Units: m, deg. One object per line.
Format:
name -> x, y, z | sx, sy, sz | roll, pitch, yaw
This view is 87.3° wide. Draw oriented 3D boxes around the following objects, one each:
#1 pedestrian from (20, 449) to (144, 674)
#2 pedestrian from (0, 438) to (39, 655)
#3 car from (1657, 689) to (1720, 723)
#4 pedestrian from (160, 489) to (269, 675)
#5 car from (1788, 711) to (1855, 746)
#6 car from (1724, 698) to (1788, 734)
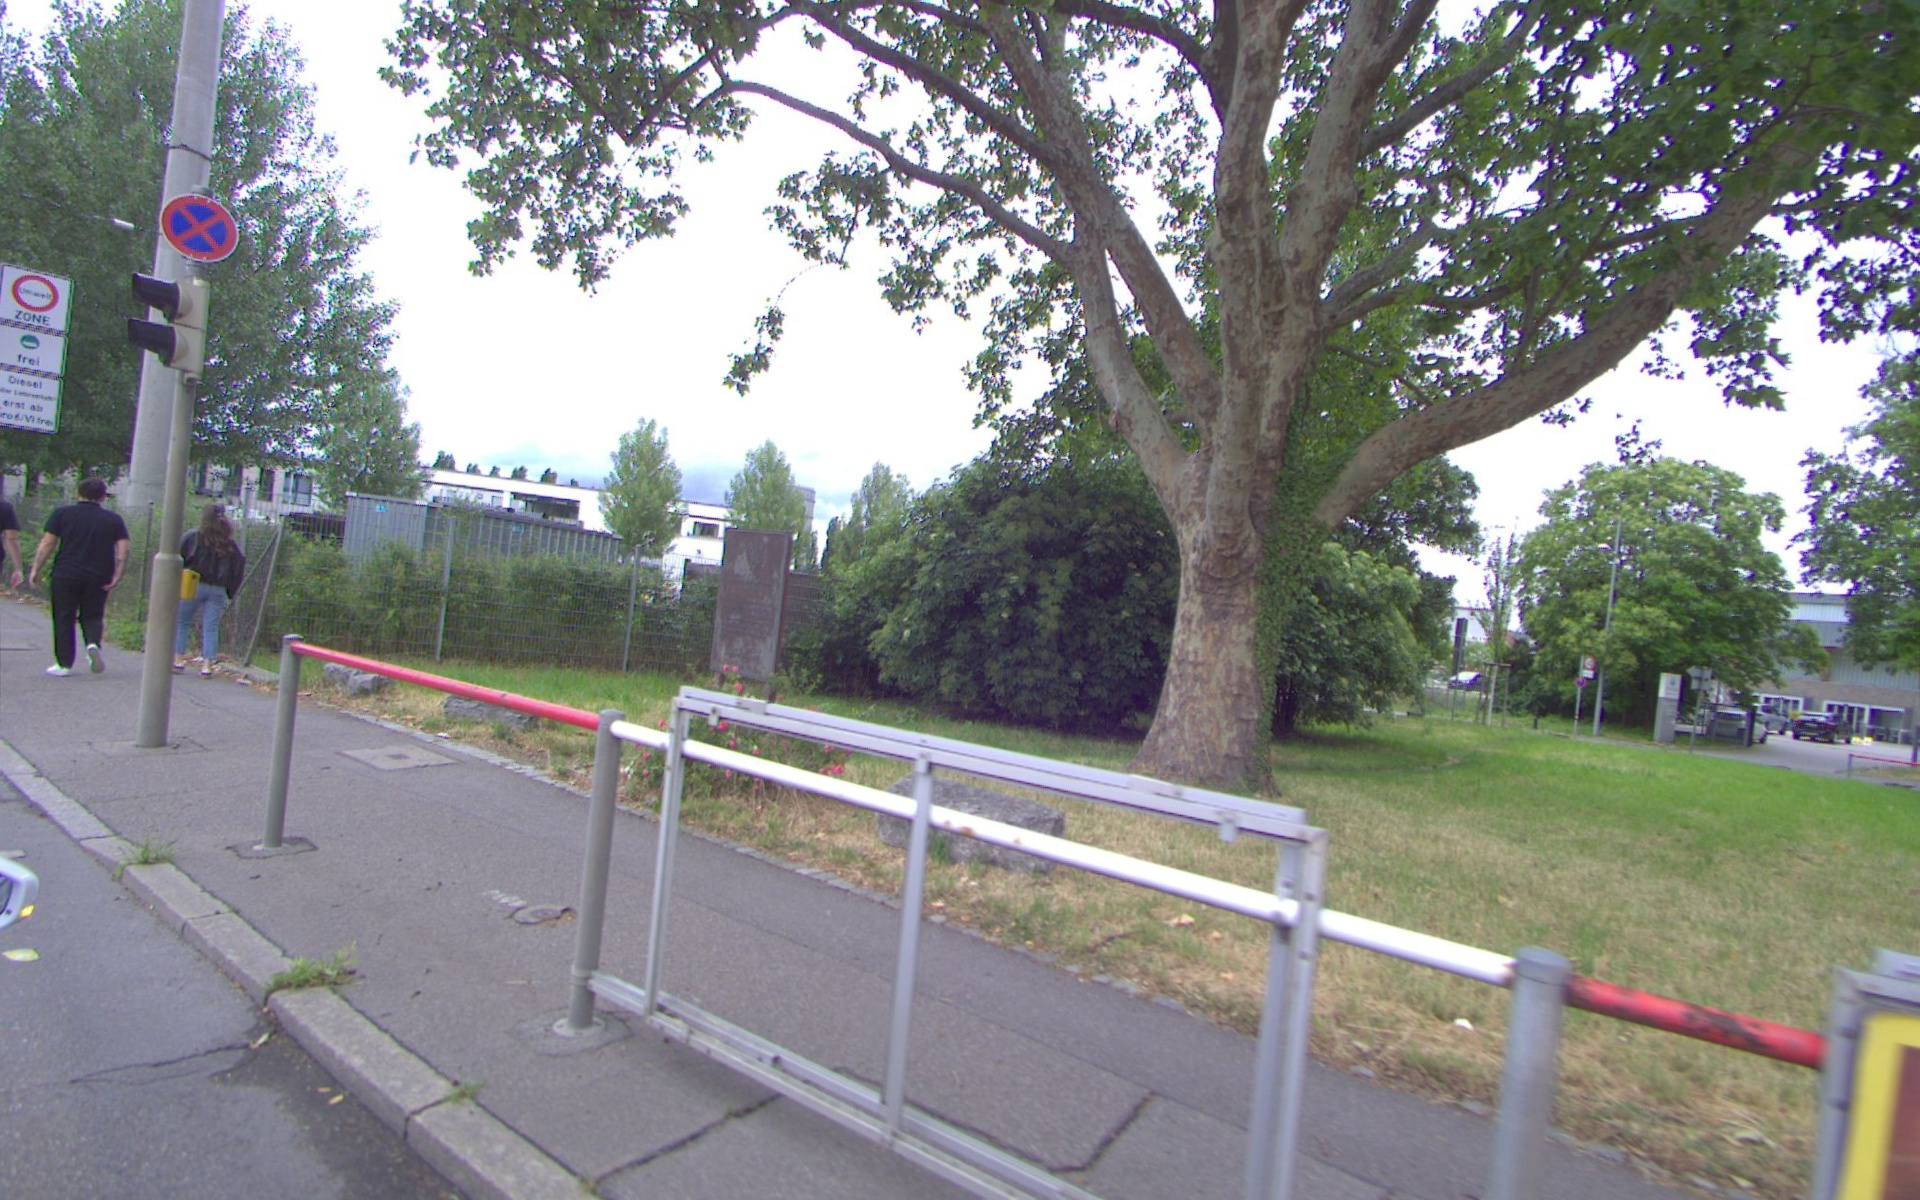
pedestrian -> -7.771, -0.326, 8.907 | 0.662, 1.890, 0.602 | 6, 0, 38
pedestrian -> -8.751, -0.484, 8.964 | 0.662, 1.889, 0.602 | 2, -2, 38
car -> 44.891, 6.538, 61.992 | 3.965, 1.721, 1.897 | 7, 0, -37
pedestrian -> -7.188, -0.154, 9.700 | 0.662, 1.709, 0.602 | 2, -2, 38
car -> 48.024, 7.158, 56.046 | 3.965, 1.526, 1.897 | 7, 0, -37
car -> 46.821, 6.847, 59.164 | 3.965, 1.721, 1.897 | 7, 0, -37
